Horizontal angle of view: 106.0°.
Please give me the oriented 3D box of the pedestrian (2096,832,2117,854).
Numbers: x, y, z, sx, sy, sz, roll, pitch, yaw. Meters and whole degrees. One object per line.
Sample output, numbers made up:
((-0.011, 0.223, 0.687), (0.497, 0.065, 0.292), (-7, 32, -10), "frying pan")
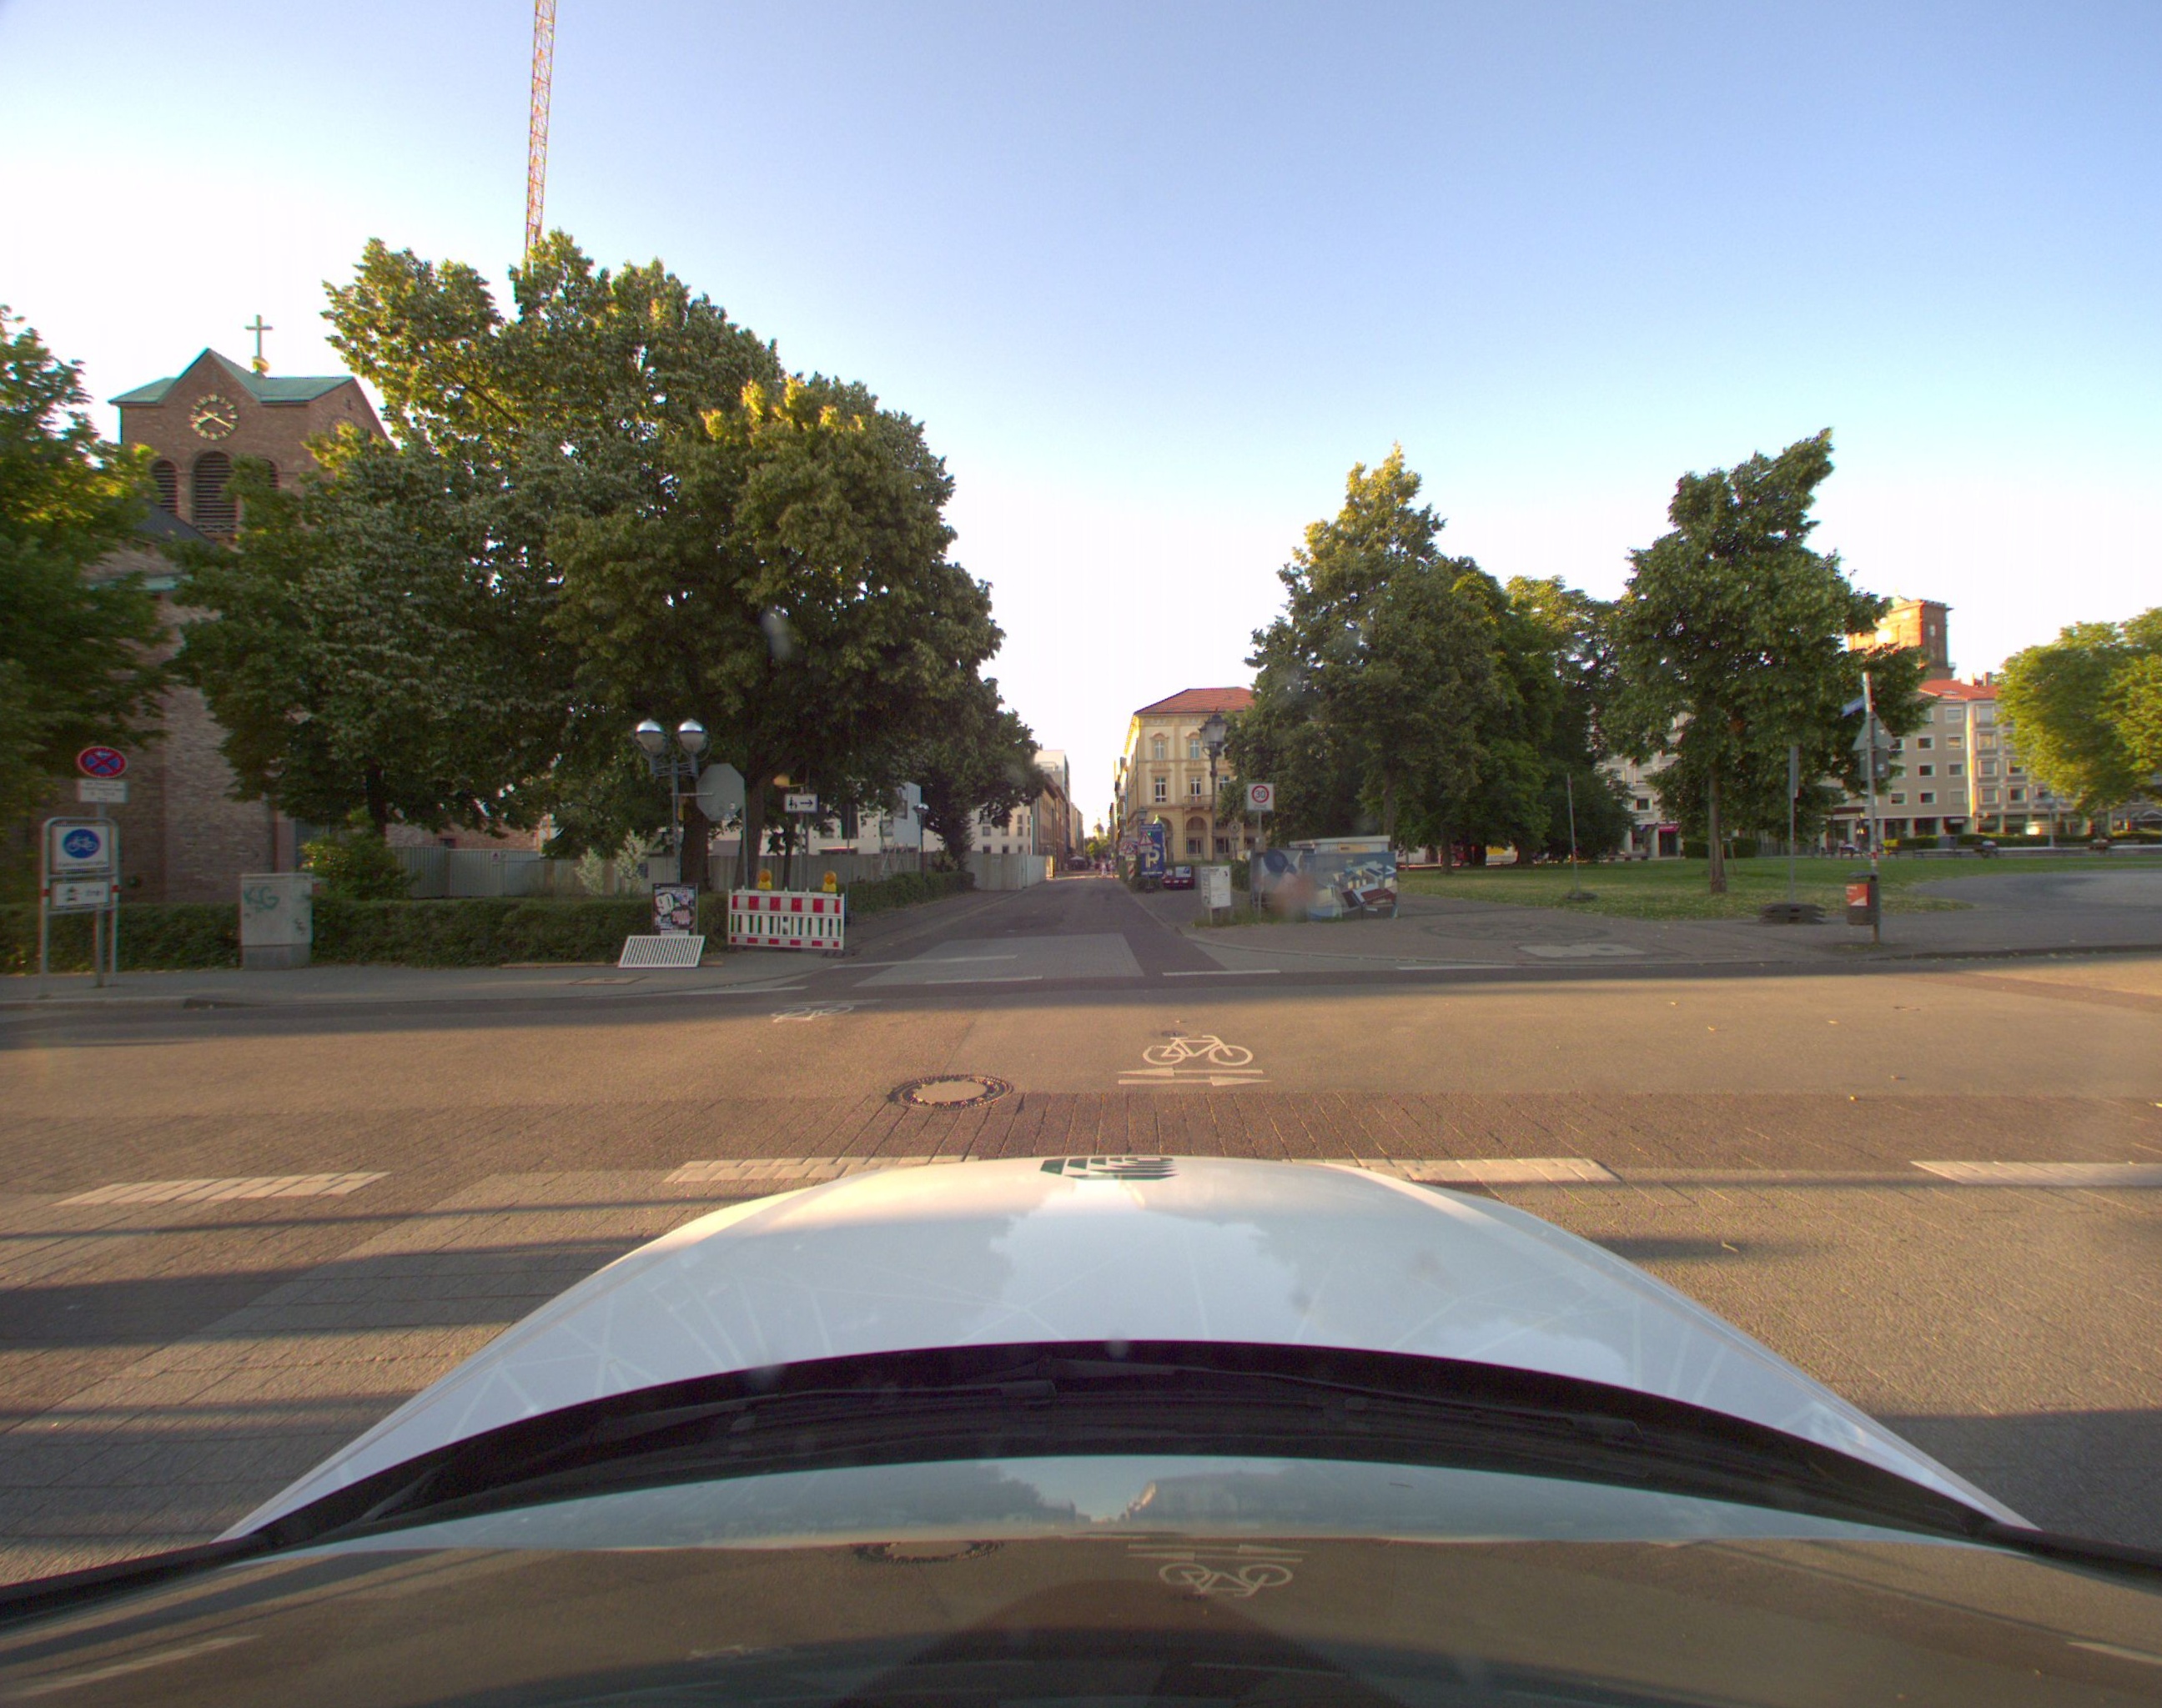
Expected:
((52.073, -0.580, 41.371), (0.514, 1.077, 0.614), (-1, -1, -39), "pedestrian")

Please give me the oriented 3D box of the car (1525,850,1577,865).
((42.276, 0.297, 73.260), (3.568, 1.240, 1.996), (-2, -1, -6), "car")

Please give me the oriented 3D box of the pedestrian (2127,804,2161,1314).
((3.920, 0.666, 2.319), (0.731, 1.689, 0.836), (-2, -1, 0), "pedestrian")

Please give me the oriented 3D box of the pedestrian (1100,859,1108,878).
((2.040, 1.293, 71.249), (0.655, 1.617, 0.745), (-2, -1, 1), "pedestrian")

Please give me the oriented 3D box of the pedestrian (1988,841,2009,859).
((50.406, -0.223, 44.724), (0.512, 0.925, 0.616), (-2, -1, -24), "pedestrian")

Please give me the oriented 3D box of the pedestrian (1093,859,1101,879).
((1.414, 1.326, 72.470), (0.655, 1.760, 0.745), (-2, -1, 1), "pedestrian")

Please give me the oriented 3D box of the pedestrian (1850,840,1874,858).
((50.118, -0.325, 52.249), (0.889, 1.077, 0.624), (-2, -1, 18), "pedestrian")

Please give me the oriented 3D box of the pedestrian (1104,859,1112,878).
((2.435, 1.304, 72.609), (0.655, 1.636, 0.745), (-2, -1, 1), "pedestrian")

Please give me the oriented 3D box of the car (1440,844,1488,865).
((39.874, 0.018, 84.929), (4.016, 2.014, 2.001), (-2, -1, 2), "car")

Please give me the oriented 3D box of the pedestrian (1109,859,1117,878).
((2.822, 1.236, 71.302), (0.655, 1.617, 0.745), (-2, -1, 1), "pedestrian")

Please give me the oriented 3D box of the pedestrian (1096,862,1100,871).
((3.482, 2.559, 168.614), (0.743, 1.834, 0.759), (-2, -1, -10), "pedestrian")
